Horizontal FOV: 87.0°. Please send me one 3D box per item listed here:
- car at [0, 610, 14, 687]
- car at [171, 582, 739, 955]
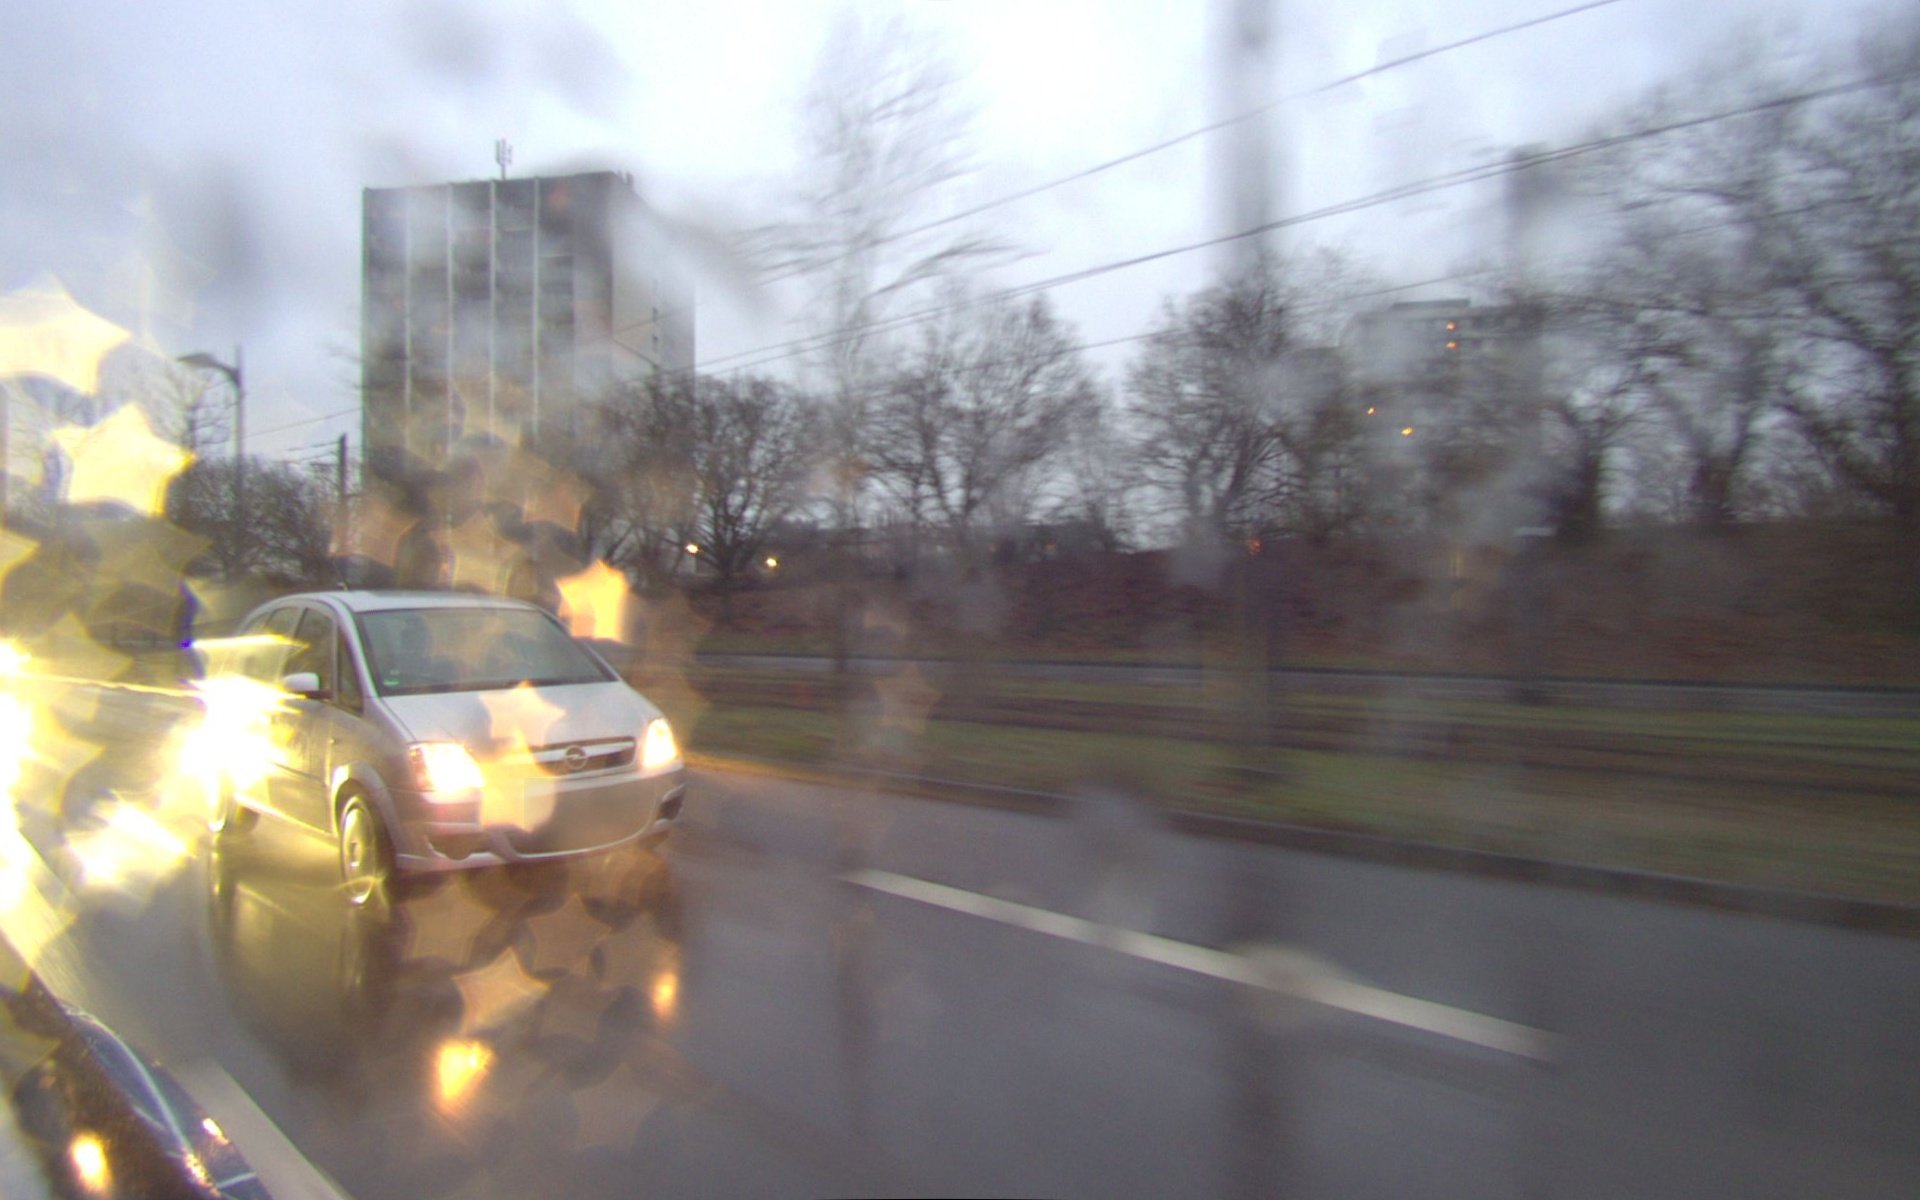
[{"bbox_3d":[-22.180,1.051,21.944,4.121,1.612,1.928,-1,-2,40],"label":"car"},{"bbox_3d":[-3.325,0.734,6.235,4.188,1.551,1.672,-1,-1,41],"label":"car"}]
